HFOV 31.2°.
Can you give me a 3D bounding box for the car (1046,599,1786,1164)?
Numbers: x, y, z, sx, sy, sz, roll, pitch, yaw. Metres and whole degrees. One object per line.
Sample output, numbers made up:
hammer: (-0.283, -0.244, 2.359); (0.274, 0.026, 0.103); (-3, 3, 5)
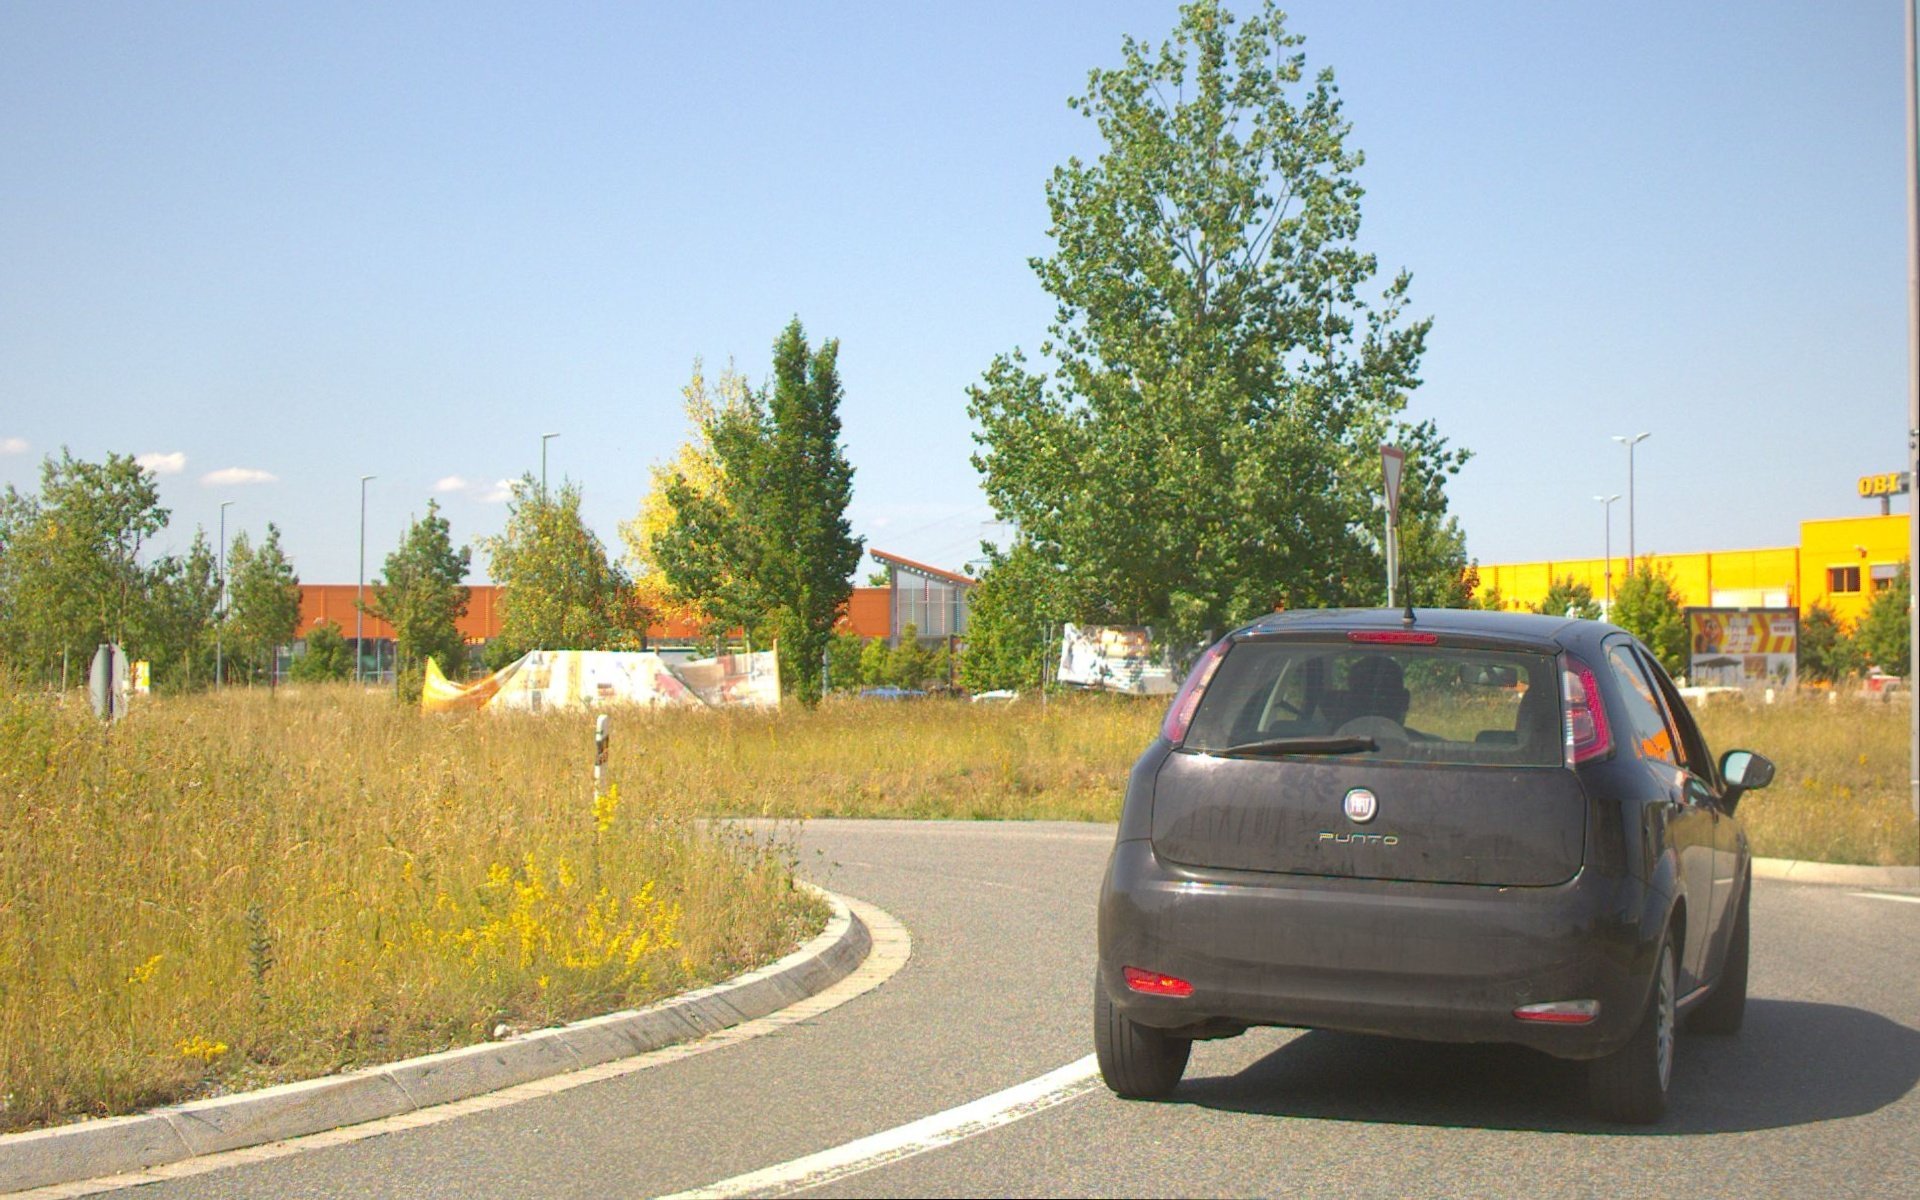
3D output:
car: (1.667, 0.779, 11.284); (1.641, 1.482, 3.900); (1, -1, 19)
